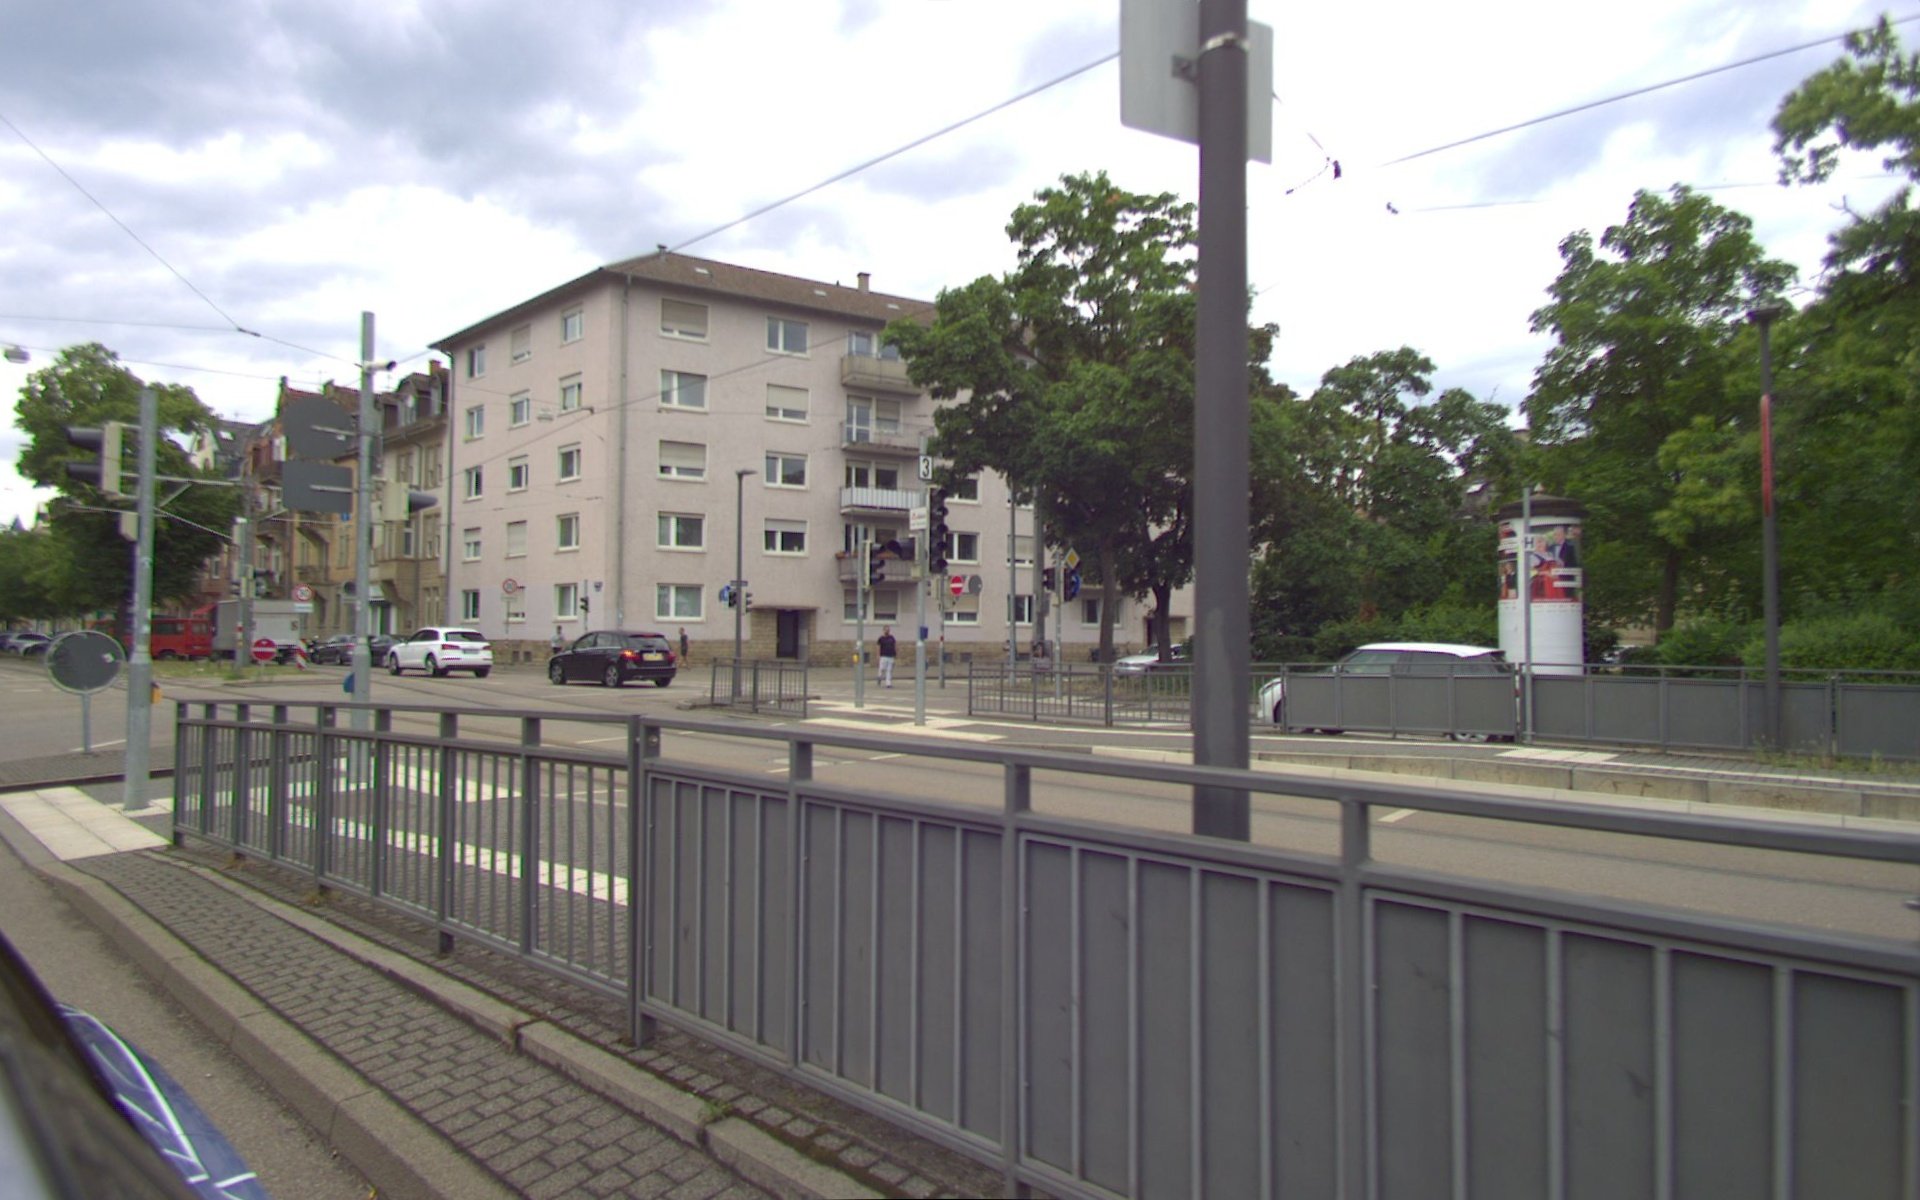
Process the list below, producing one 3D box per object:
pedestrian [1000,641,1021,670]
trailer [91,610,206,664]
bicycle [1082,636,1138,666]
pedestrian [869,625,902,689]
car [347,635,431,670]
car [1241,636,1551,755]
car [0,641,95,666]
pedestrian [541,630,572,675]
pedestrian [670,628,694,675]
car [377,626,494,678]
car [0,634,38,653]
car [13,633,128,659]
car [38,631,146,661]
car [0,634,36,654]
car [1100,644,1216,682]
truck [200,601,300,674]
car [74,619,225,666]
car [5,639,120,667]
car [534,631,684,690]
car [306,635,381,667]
[{"bbox_3d":[2.341,2.570,47.037,0.719,1.298,0.692,2,-3,-33],"label":"pedestrian"},{"bbox_3d":[-37.140,1.709,46.434,3.609,2.362,1.936,1,-3,-16],"label":"trailer"},{"bbox_3d":[7.600,2.573,51.143,2.846,1.477,0.885,2,-3,-28],"label":"bicycle"},{"bbox_3d":[-2.286,1.731,30.875,0.822,1.889,1.048,1,-3,-14],"label":"pedestrian"},{"bbox_3d":[-25.113,2.264,44.468,4.758,1.454,1.618,-2,-3,40],"label":"car"},{"bbox_3d":[6.381,1.303,15.033,3.885,1.504,1.752,-1,-3,41],"label":"car"},{"bbox_3d":[-56.348,3.296,62.566,4.052,1.495,1.800,0,-2,-8],"label":"car"},{"bbox_3d":[-16.142,2.082,40.462,0.899,1.780,0.789,-2,-3,40],"label":"pedestrian"},{"bbox_3d":[-10.853,1.996,39.531,0.710,1.827,0.685,2,-3,-33],"label":"pedestrian"},{"bbox_3d":[-17.828,1.715,34.309,4.530,1.651,1.753,-1,-3,38],"label":"car"},{"bbox_3d":[-70.582,3.169,73.965,4.595,1.378,1.760,0,-2,-6],"label":"car"},{"bbox_3d":[-50.650,2.618,57.705,4.612,1.446,1.903,1,-2,-10],"label":"car"},{"bbox_3d":[-43.434,2.281,50.715,3.803,1.474,1.692,0,-2,-7],"label":"car"},{"bbox_3d":[-77.085,3.503,80.848,4.472,1.502,2.038,1,-2,-5],"label":"car"},{"bbox_3d":[7.580,2.390,38.706,3.967,1.364,2.006,2,-3,-29],"label":"car"},{"bbox_3d":[-33.472,1.738,47.605,7.329,3.181,2.161,-1,-3,42],"label":"truck"},{"bbox_3d":[-35.022,1.849,43.837,4.690,1.989,1.964,1,-3,-11],"label":"car"},{"bbox_3d":[-48.189,2.837,54.432,4.272,1.446,1.902,0,-2,-7],"label":"car"},{"bbox_3d":[-9.830,1.642,28.227,4.530,1.504,1.753,-1,-3,38],"label":"car"},{"bbox_3d":[-29.257,2.405,47.993,4.566,1.454,1.618,-2,-3,40],"label":"car"}]
